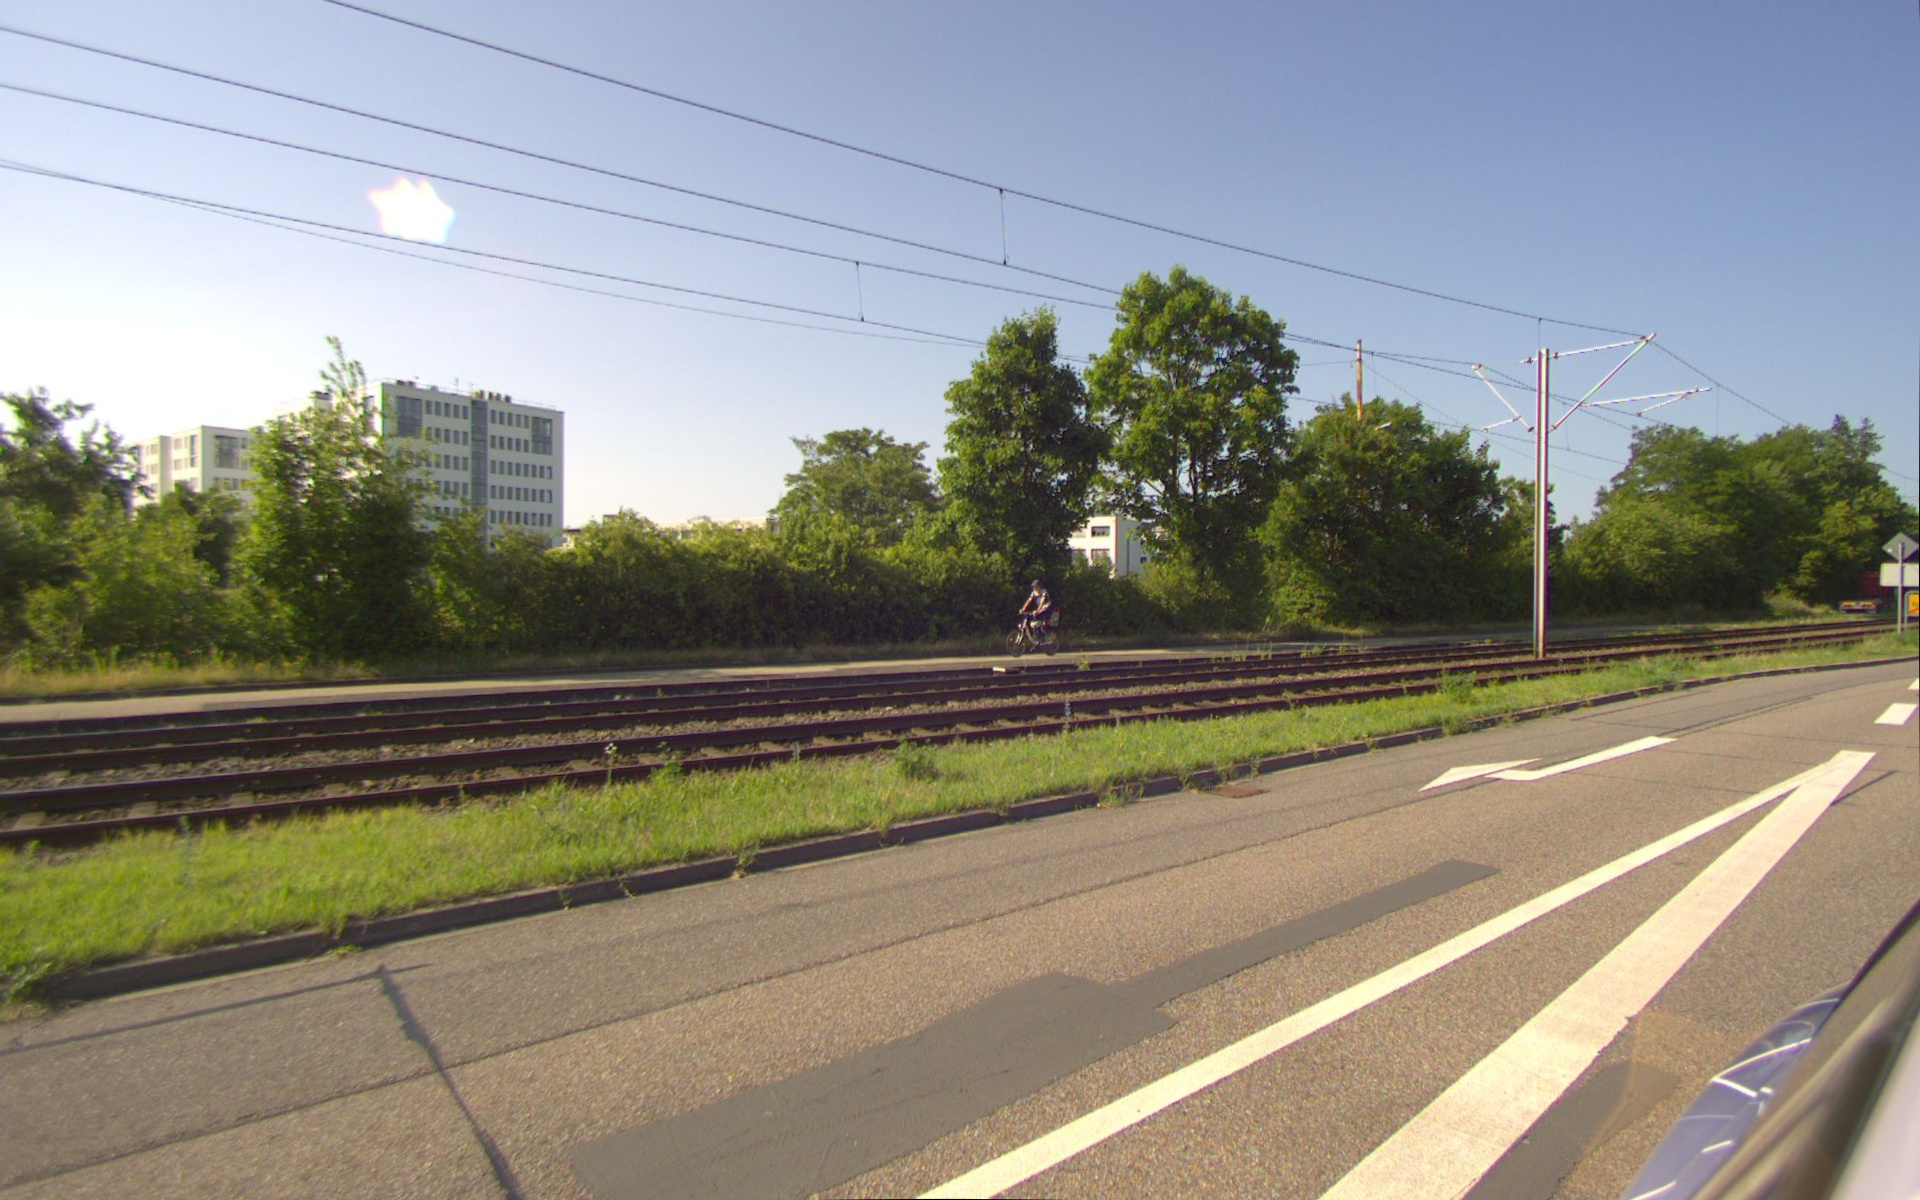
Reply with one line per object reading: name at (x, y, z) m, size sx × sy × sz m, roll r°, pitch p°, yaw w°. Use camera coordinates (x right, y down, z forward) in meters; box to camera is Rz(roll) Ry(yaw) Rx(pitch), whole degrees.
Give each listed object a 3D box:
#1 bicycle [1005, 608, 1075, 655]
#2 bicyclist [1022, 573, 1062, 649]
bicycle at (1.980, 0.755, 24.820) m, size 1.840 × 1.060 × 0.547 m, roll 0°, pitch 1°, yaw -39°
bicyclist at (2.017, 0.248, 24.875) m, size 0.704 × 1.830 × 0.708 m, roll 0°, pitch 1°, yaw -38°
